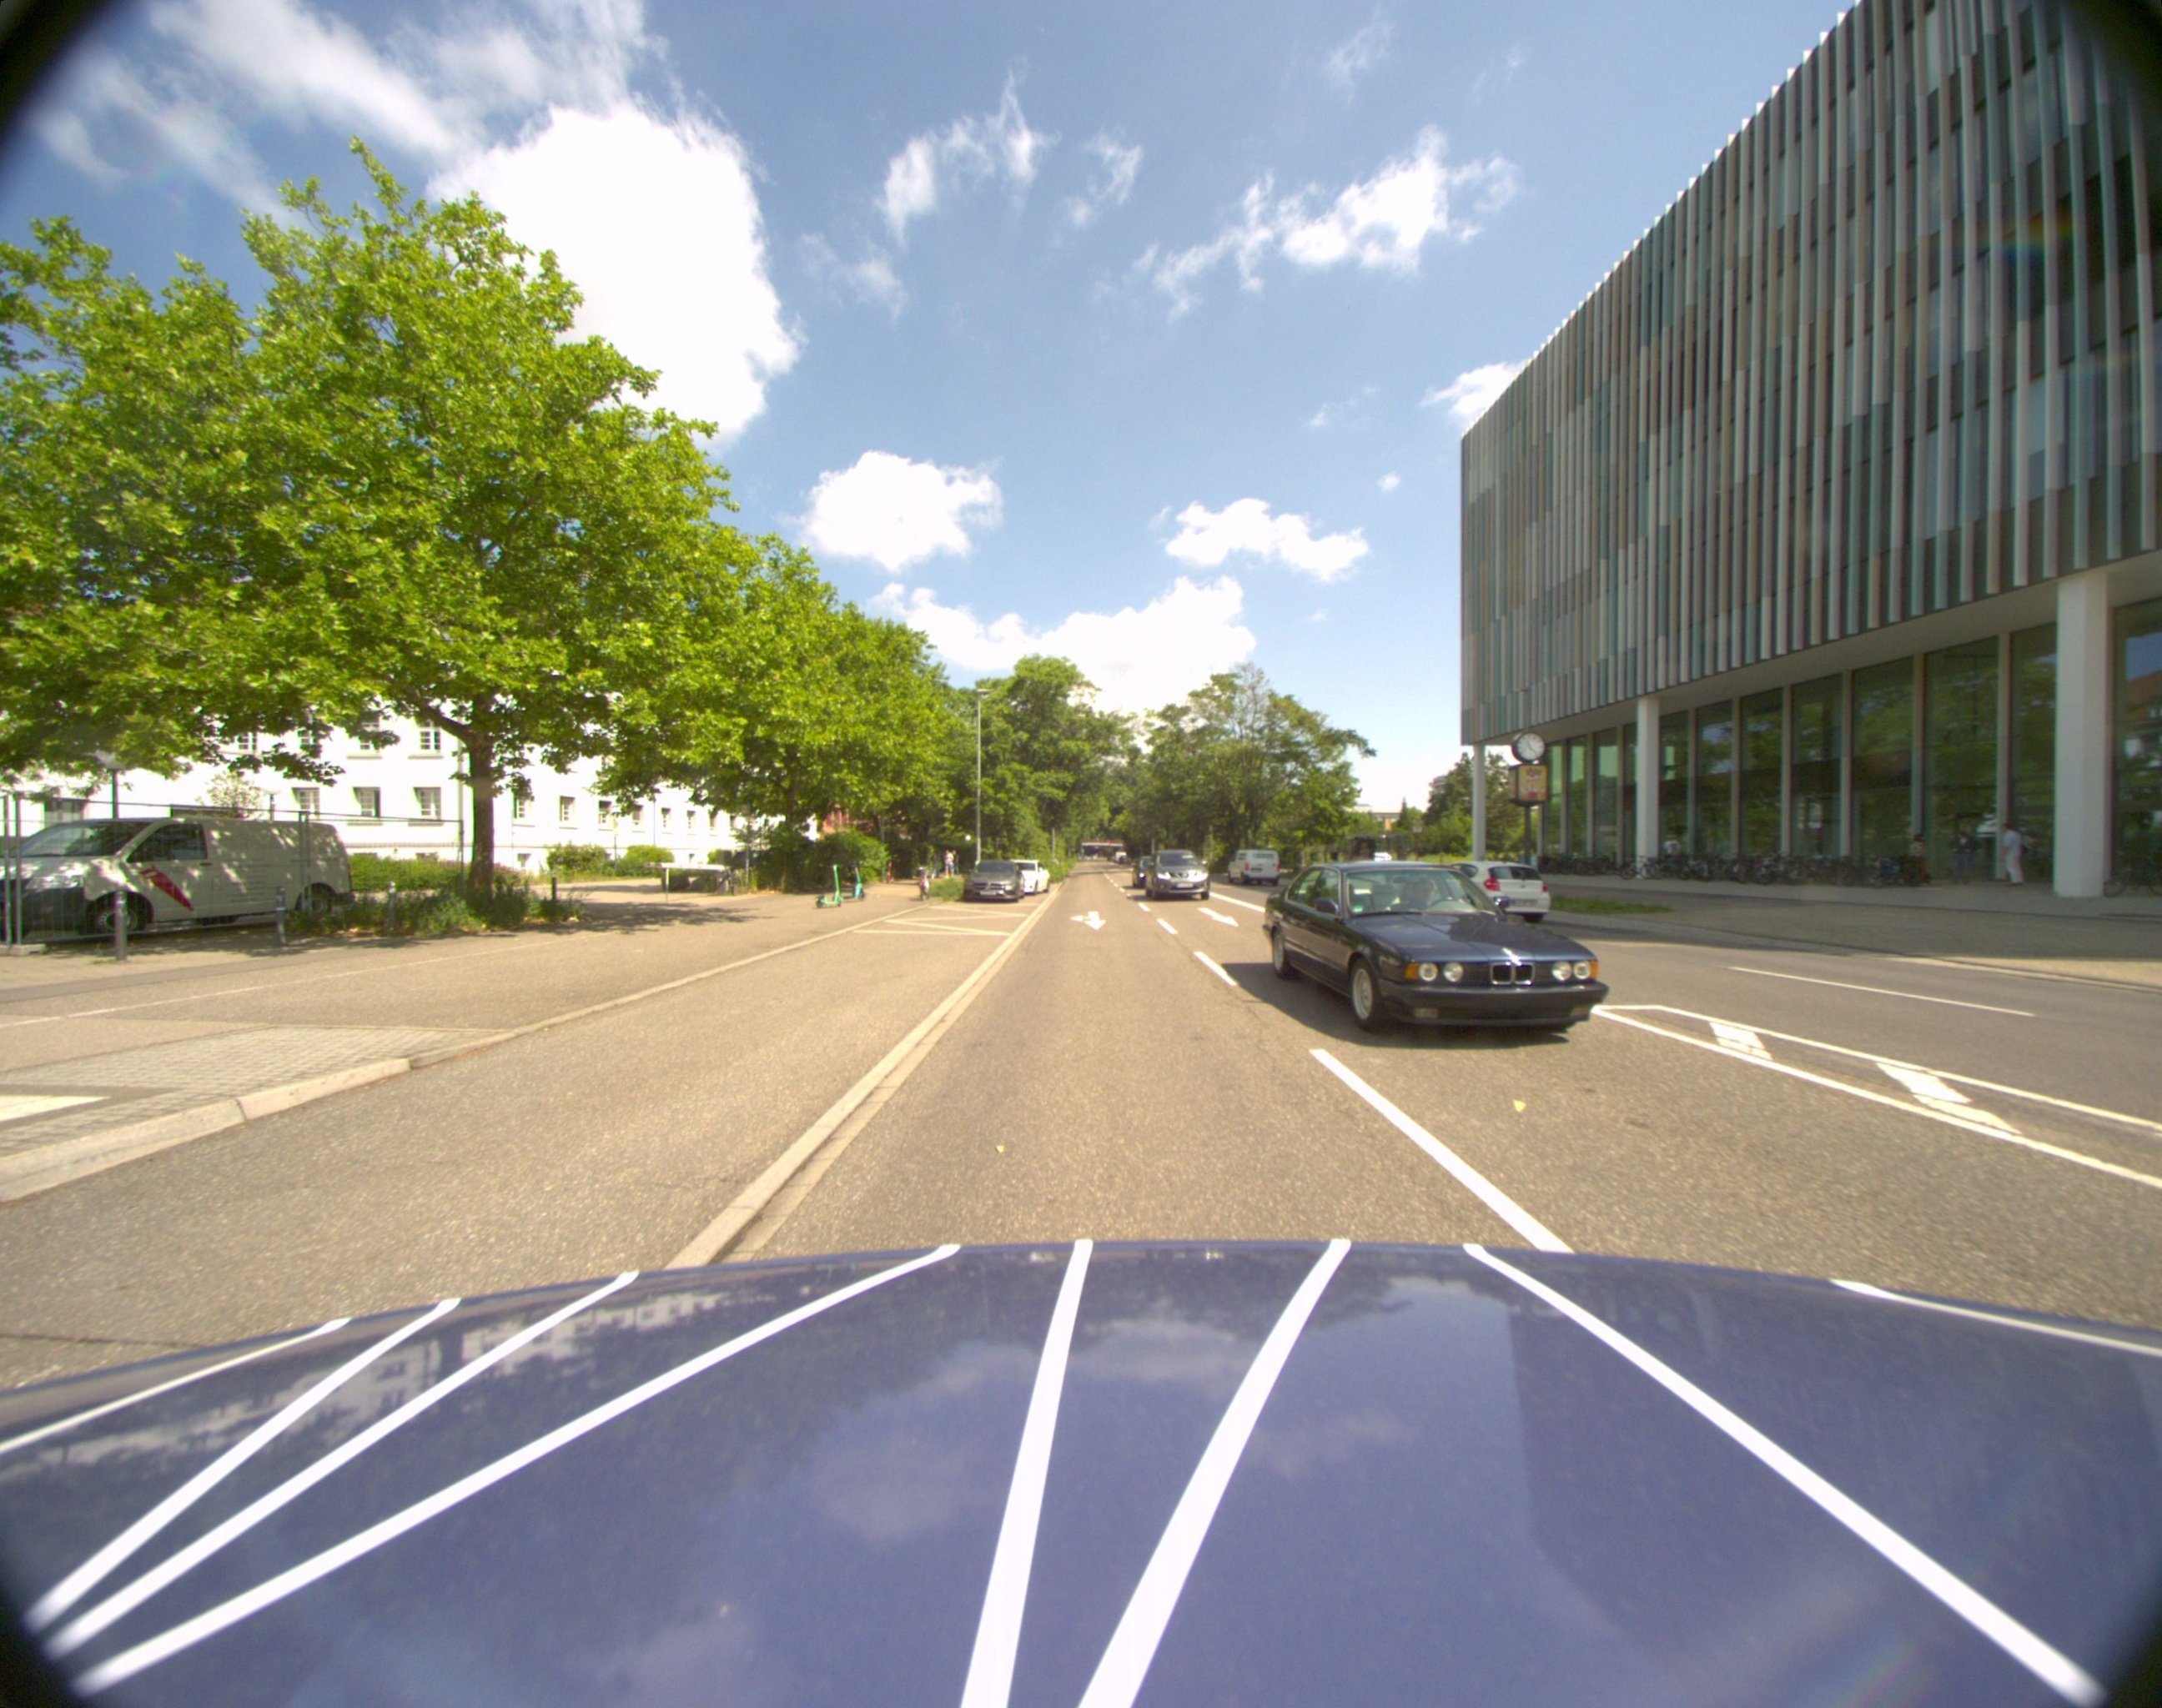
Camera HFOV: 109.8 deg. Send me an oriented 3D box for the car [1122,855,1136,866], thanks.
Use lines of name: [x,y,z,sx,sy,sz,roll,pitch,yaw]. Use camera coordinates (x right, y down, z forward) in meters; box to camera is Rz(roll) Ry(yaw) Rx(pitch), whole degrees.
car: [7.037,0.934,112.048,1.897,1.502,3.829,-2,1,6]

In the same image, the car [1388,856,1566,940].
car: [9.626,0.972,18.980,1.729,1.801,4.730,1,0,-3]

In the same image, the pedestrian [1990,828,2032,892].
pedestrian: [27.113,0.175,22.164,0.562,1.831,0.554,-1,1,-7]

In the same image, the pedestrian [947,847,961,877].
pedestrian: [-7.603,0.475,45.324,0.684,1.770,0.790,-2,1,-15]

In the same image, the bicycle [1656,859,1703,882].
bicycle: [25.328,0.696,32.172,1.543,0.950,0.374,-2,1,15]

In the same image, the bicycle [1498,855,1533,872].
bicycle: [25.333,0.535,44.266,1.784,0.950,0.433,-2,1,0]

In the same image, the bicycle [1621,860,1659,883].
bicycle: [24.287,0.760,33.016,1.547,0.950,0.373,-2,1,-11]

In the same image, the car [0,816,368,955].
car: [-15.055,0.415,12.604,1.903,1.854,4.940,-1,1,-2]

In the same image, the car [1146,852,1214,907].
car: [3.281,0.800,25.969,1.824,1.669,4.478,-1,0,2]

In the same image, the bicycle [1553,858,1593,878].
bicycle: [25.458,0.733,39.342,1.784,0.950,0.433,-2,1,0]

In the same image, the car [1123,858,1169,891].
car: [3.115,0.929,35.674,1.828,1.407,4.194,-1,0,9]

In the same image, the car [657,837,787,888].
car: [-13.758,0.296,29.337,3.998,1.772,1.999,-2,1,-3]

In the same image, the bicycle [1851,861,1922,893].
bicycle: [25.131,0.722,23.733,1.543,0.950,0.374,-2,1,15]

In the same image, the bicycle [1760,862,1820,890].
bicycle: [24.931,0.772,26.741,1.543,0.950,0.374,-2,1,15]

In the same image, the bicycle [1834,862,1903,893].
bicycle: [25.194,0.750,24.332,1.543,0.950,0.374,-2,1,15]

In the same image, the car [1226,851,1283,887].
car: [9.361,0.784,41.416,1.903,1.801,4.731,1,0,-2]

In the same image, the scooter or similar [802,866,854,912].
scooter or similar: [-6.770,0.912,20.370,0.529,1.162,1.577,2,0,14]

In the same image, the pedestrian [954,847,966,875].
pedestrian: [-7.660,0.439,48.213,0.684,1.770,0.790,-2,1,-7]

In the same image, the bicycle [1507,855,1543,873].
bicycle: [25.414,0.566,43.465,1.784,0.950,0.433,-2,1,0]

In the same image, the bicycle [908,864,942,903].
bicycle: [-5.124,0.947,25.090,0.639,1.183,2.119,1,0,0]

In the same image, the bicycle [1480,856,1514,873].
bicycle: [25.356,0.640,46.306,1.784,0.950,0.433,-2,1,0]

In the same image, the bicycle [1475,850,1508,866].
bicycle: [25.328,0.235,46.905,1.784,0.950,0.433,-2,1,0]

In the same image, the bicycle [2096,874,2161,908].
bicycle: [25.741,0.895,18.465,1.545,0.771,0.373,-2,1,4]

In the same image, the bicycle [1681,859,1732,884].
bicycle: [25.158,0.718,30.562,1.543,0.950,0.374,-2,1,15]

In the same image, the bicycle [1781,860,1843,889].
bicycle: [25.173,0.698,26.175,1.543,0.950,0.374,-2,1,15]

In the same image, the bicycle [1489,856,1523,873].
bicycle: [25.303,0.623,45.252,1.784,0.950,0.433,-2,1,0]

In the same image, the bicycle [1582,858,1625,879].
bicycle: [25.355,0.680,36.883,1.784,0.950,0.433,-2,1,0]

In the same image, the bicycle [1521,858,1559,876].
bicycle: [25.226,0.699,41.766,1.784,0.950,0.433,-2,1,0]

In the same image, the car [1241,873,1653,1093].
car: [3.057,0.949,7.602,1.696,1.378,4.612,-1,0,-3]

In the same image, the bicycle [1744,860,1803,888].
bicycle: [24.950,0.718,27.393,1.543,0.950,0.374,-2,1,15]

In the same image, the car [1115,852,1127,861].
car: [7.022,0.460,133.173,1.897,1.502,3.829,-2,1,6]

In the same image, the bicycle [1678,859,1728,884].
bicycle: [25.339,0.713,30.949,1.543,0.950,0.374,-2,1,15]

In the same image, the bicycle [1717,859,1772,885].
bicycle: [24.959,0.687,28.579,1.543,0.950,0.374,-2,1,15]

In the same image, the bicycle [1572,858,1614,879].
bicycle: [25.628,0.725,38.017,1.784,0.950,0.433,-2,1,0]

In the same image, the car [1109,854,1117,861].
car: [7.370,0.708,176.532,1.756,1.502,3.828,-2,1,2]

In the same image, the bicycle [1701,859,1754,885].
bicycle: [24.995,0.698,29.395,1.543,0.950,0.374,-2,1,15]

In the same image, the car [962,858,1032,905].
car: [-2.879,0.920,27.081,1.861,1.470,4.942,2,-1,1]

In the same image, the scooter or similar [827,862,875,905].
scooter or similar: [-6.885,0.875,22.768,0.528,1.239,1.292,2,0,35]

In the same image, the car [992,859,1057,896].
car: [-2.302,0.948,32.345,1.741,1.442,4.945,1,0,7]

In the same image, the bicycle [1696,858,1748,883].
bicycle: [25.215,0.652,29.910,1.543,0.950,0.374,-2,1,15]

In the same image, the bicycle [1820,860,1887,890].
bicycle: [25.375,0.690,24.975,1.543,0.950,0.374,-2,1,15]

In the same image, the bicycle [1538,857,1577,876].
bicycle: [25.318,0.682,40.375,1.784,0.950,0.433,-2,1,0]

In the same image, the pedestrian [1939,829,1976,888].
pedestrian: [27.477,0.141,23.819,0.562,1.831,0.554,-1,1,-7]

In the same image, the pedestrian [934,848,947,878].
pedestrian: [-8.413,0.521,45.408,0.684,1.770,0.790,-2,1,-12]
